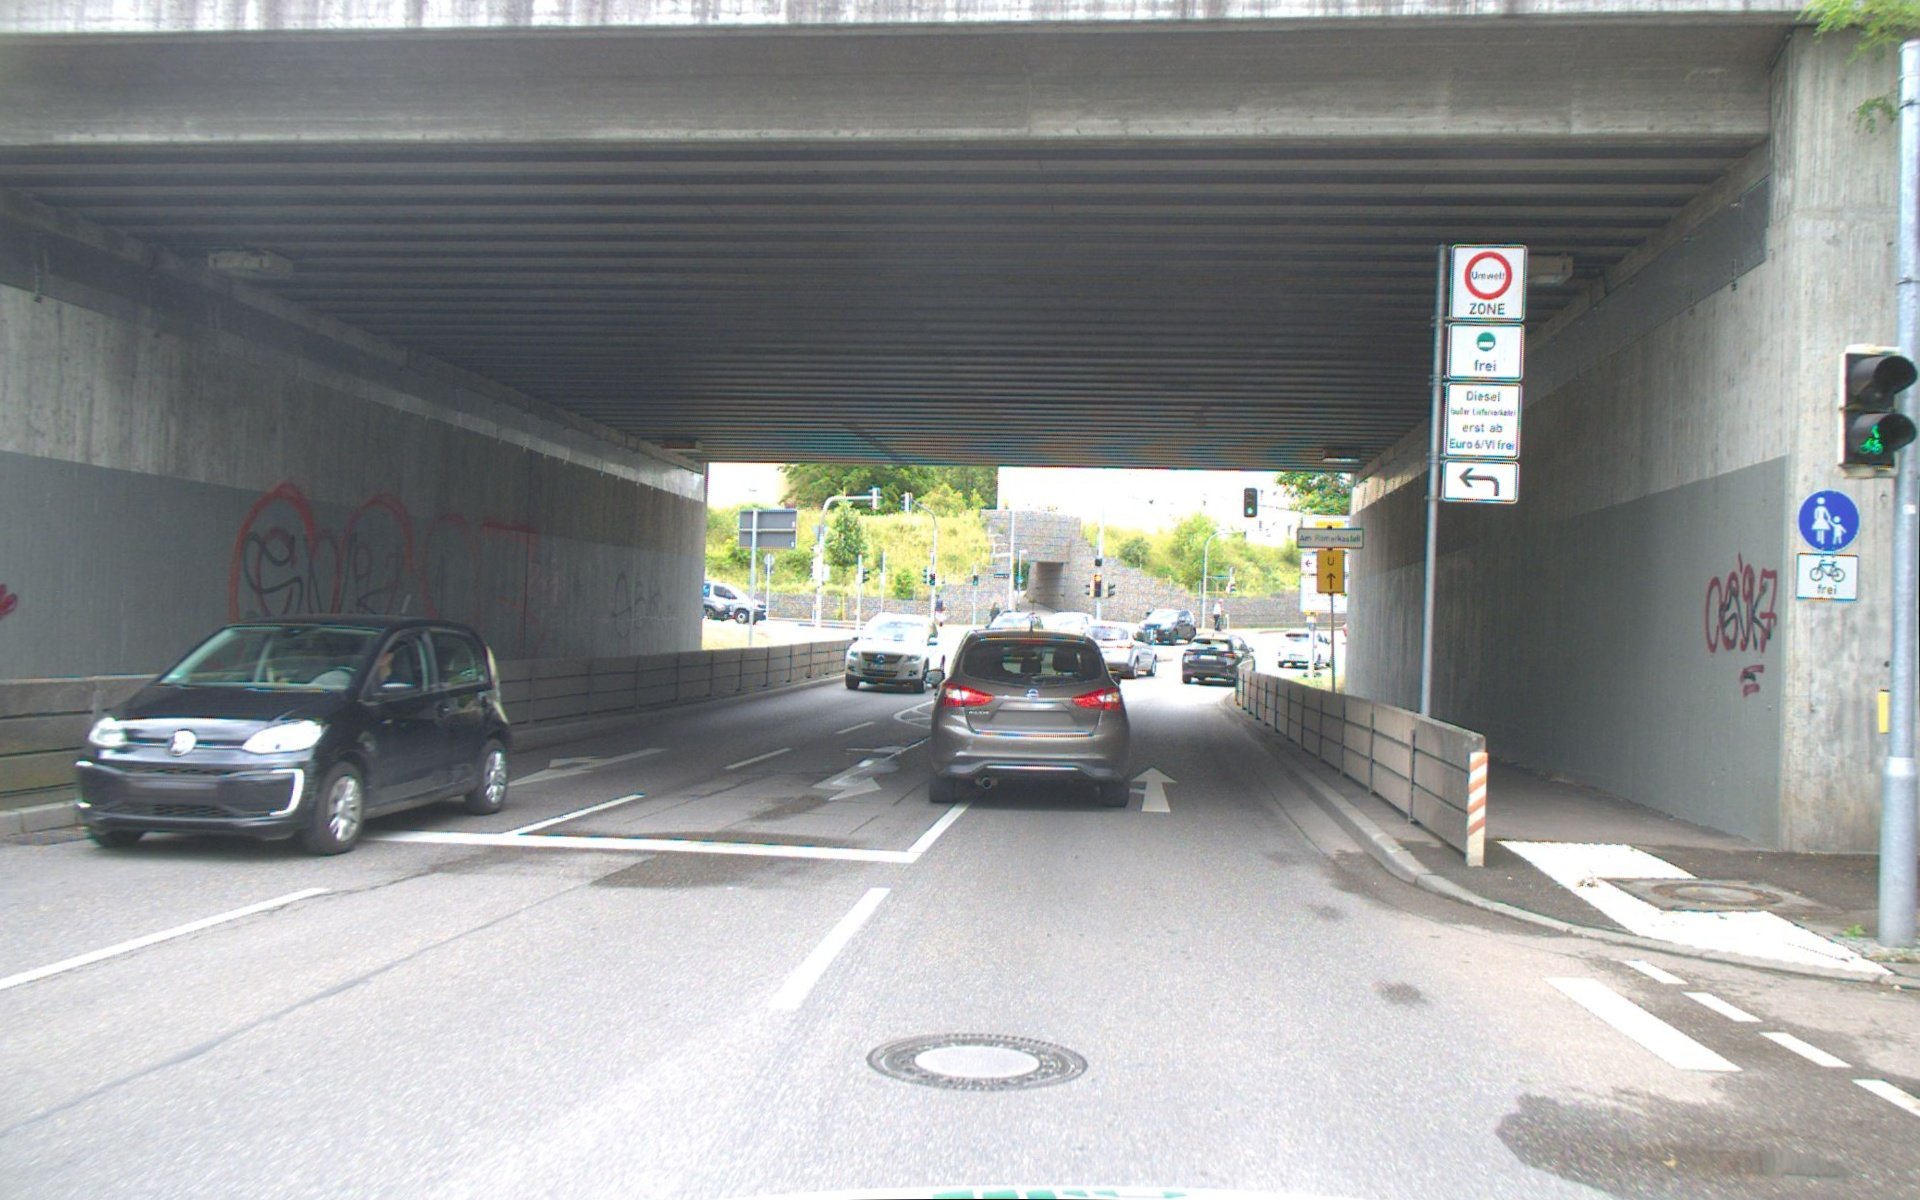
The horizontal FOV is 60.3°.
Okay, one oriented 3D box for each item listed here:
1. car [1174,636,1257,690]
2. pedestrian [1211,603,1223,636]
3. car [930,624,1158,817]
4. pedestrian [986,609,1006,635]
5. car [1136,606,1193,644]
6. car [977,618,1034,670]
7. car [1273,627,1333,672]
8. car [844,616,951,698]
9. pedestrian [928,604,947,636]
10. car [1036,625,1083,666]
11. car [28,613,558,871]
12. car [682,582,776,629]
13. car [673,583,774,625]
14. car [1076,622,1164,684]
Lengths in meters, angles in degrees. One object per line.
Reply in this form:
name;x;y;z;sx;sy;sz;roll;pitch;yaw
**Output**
car;7.702;1.852;49.574;1.860;1.492;4.002;2;-1;17
pedestrian;15.045;1.162;96.789;0.591;1.895;0.597;2;0;15
car;0.659;1.021;15.568;1.807;1.519;3.999;2;-1;-1
pedestrian;1.812;1.102;83.721;0.892;1.245;0.729;5;0;-2
car;10.030;1.220;80.885;1.952;1.727;4.169;2;-1;18
car;1.642;1.527;59.084;1.651;1.738;3.792;2;-1;7
car;13.652;1.948;65.658;1.952;1.646;4.002;2;-1;17
car;-1.366;1.275;37.786;1.745;1.689;4.111;2;-1;7
pedestrian;-1.207;1.074;89.061;0.933;1.641;0.699;2;0;-3
car;4.246;1.887;69.929;1.726;1.620;4.003;2;-1;7
car;-4.366;0.869;11.584;1.687;1.434;4.002;1;-1;6
car;-10.714;0.260;76.766;3.903;1.982;2.001;2;-1;5
car;-10.358;0.188;72.562;3.902;1.624;1.873;3;0;11
car;4.962;1.598;50.872;1.792;1.735;3.870;3;0;18
